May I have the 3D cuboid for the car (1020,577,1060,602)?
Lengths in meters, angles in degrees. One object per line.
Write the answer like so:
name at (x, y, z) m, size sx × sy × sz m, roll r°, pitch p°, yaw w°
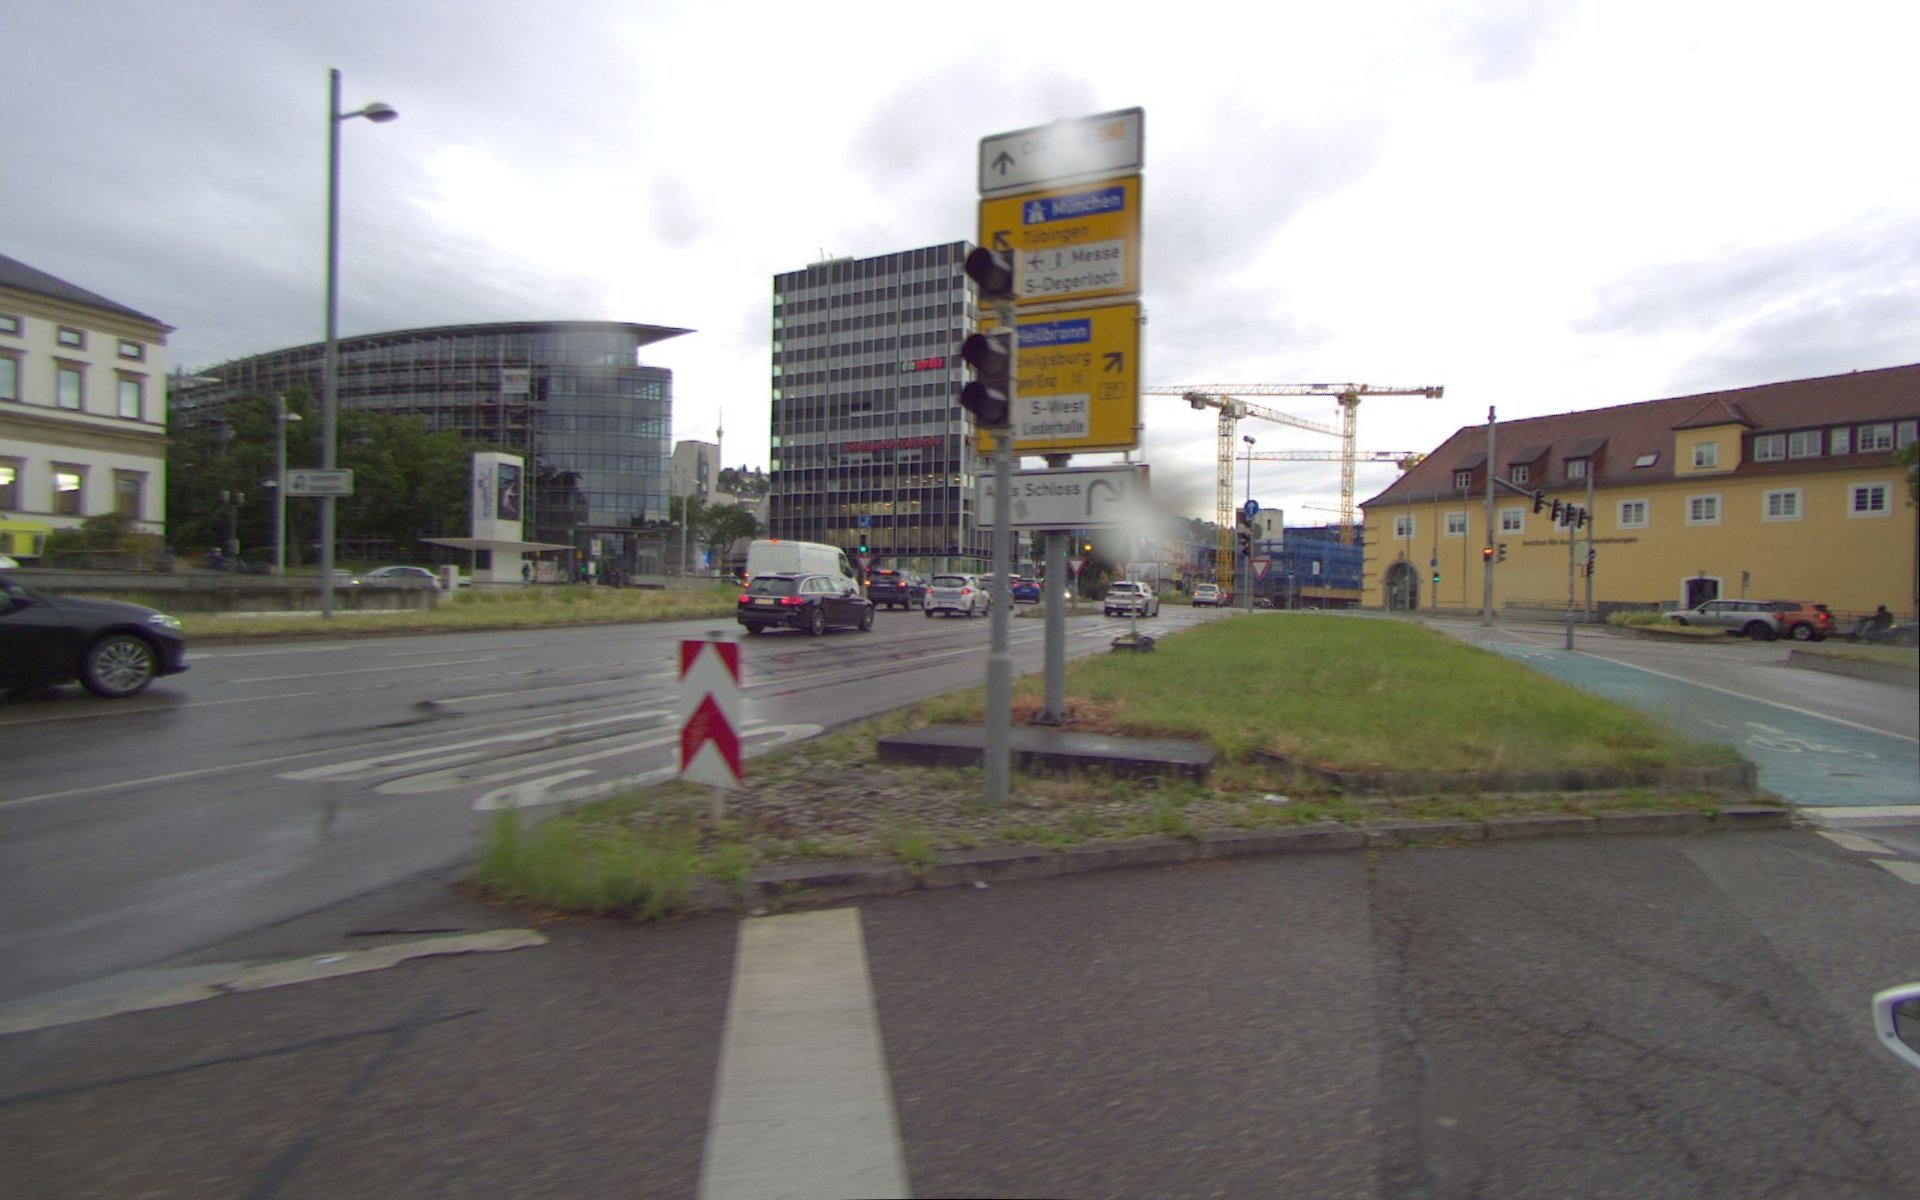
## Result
car at (4.903, -0.598, 61.143) m, size 1.469 × 1.387 × 3.032 m, roll 3°, pitch 0°, yaw 24°

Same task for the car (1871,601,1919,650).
car at (35.335, 0.984, 35.072) m, size 1.972 × 1.731 × 4.791 m, roll 3°, pitch 0°, yaw -23°

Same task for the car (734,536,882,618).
car at (-4.728, -0.652, 32.086) m, size 2.256 × 2.345 × 5.002 m, roll 3°, pitch 0°, yaw 24°

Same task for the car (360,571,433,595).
car at (-25.162, -0.744, 44.897) m, size 1.028 × 0.953 × 2.627 m, roll 3°, pitch 0°, yaw 37°

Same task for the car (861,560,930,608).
car at (-2.519, -0.606, 39.897) m, size 1.440 × 1.729 × 3.140 m, roll 3°, pitch 0°, yaw 22°

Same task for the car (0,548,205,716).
car at (-9.545, 0.267, 8.958) m, size 1.725 × 1.491 × 4.220 m, roll 3°, pitch 2°, yaw 23°

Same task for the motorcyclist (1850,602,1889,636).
motorcyclist at (36.172, 0.749, 39.951) m, size 0.687 × 1.290 × 1.064 m, roll 2°, pitch 0°, yaw -45°

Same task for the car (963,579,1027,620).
car at (1.652, 0.002, 45.862) m, size 1.689 × 1.750 × 3.492 m, roll 3°, pitch 0°, yaw 24°

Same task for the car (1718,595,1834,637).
car at (32.513, 0.626, 40.070) m, size 1.640 × 1.491 × 3.368 m, roll 2°, pitch 0°, yaw -41°

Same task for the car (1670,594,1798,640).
car at (28.168, 0.594, 36.624) m, size 1.820 × 1.501 × 3.373 m, roll 2°, pitch 0°, yaw -40°

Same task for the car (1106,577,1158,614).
car at (7.097, -0.170, 41.264) m, size 1.422 × 1.377 × 2.409 m, roll 3°, pitch 0°, yaw 27°

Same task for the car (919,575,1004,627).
car at (0.106, 0.043, 35.401) m, size 1.850 × 1.674 × 3.457 m, roll 3°, pitch 0°, yaw 21°

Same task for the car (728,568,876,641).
car at (-3.634, 0.062, 23.574) m, size 1.801 × 1.515 × 3.395 m, roll 3°, pitch 2°, yaw 26°

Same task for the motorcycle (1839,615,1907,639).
motorcycle at (36.266, 1.068, 39.924) m, size 0.542 × 0.864 × 1.945 m, roll 2°, pitch 0°, yaw -43°

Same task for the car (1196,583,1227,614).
car at (15.904, -0.136, 63.446) m, size 1.639 × 1.765 × 3.287 m, roll 3°, pitch 3°, yaw 18°

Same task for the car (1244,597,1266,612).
car at (29.296, 0.431, 99.654) m, size 1.687 × 1.383 × 3.066 m, roll 3°, pitch 0°, yaw 24°
